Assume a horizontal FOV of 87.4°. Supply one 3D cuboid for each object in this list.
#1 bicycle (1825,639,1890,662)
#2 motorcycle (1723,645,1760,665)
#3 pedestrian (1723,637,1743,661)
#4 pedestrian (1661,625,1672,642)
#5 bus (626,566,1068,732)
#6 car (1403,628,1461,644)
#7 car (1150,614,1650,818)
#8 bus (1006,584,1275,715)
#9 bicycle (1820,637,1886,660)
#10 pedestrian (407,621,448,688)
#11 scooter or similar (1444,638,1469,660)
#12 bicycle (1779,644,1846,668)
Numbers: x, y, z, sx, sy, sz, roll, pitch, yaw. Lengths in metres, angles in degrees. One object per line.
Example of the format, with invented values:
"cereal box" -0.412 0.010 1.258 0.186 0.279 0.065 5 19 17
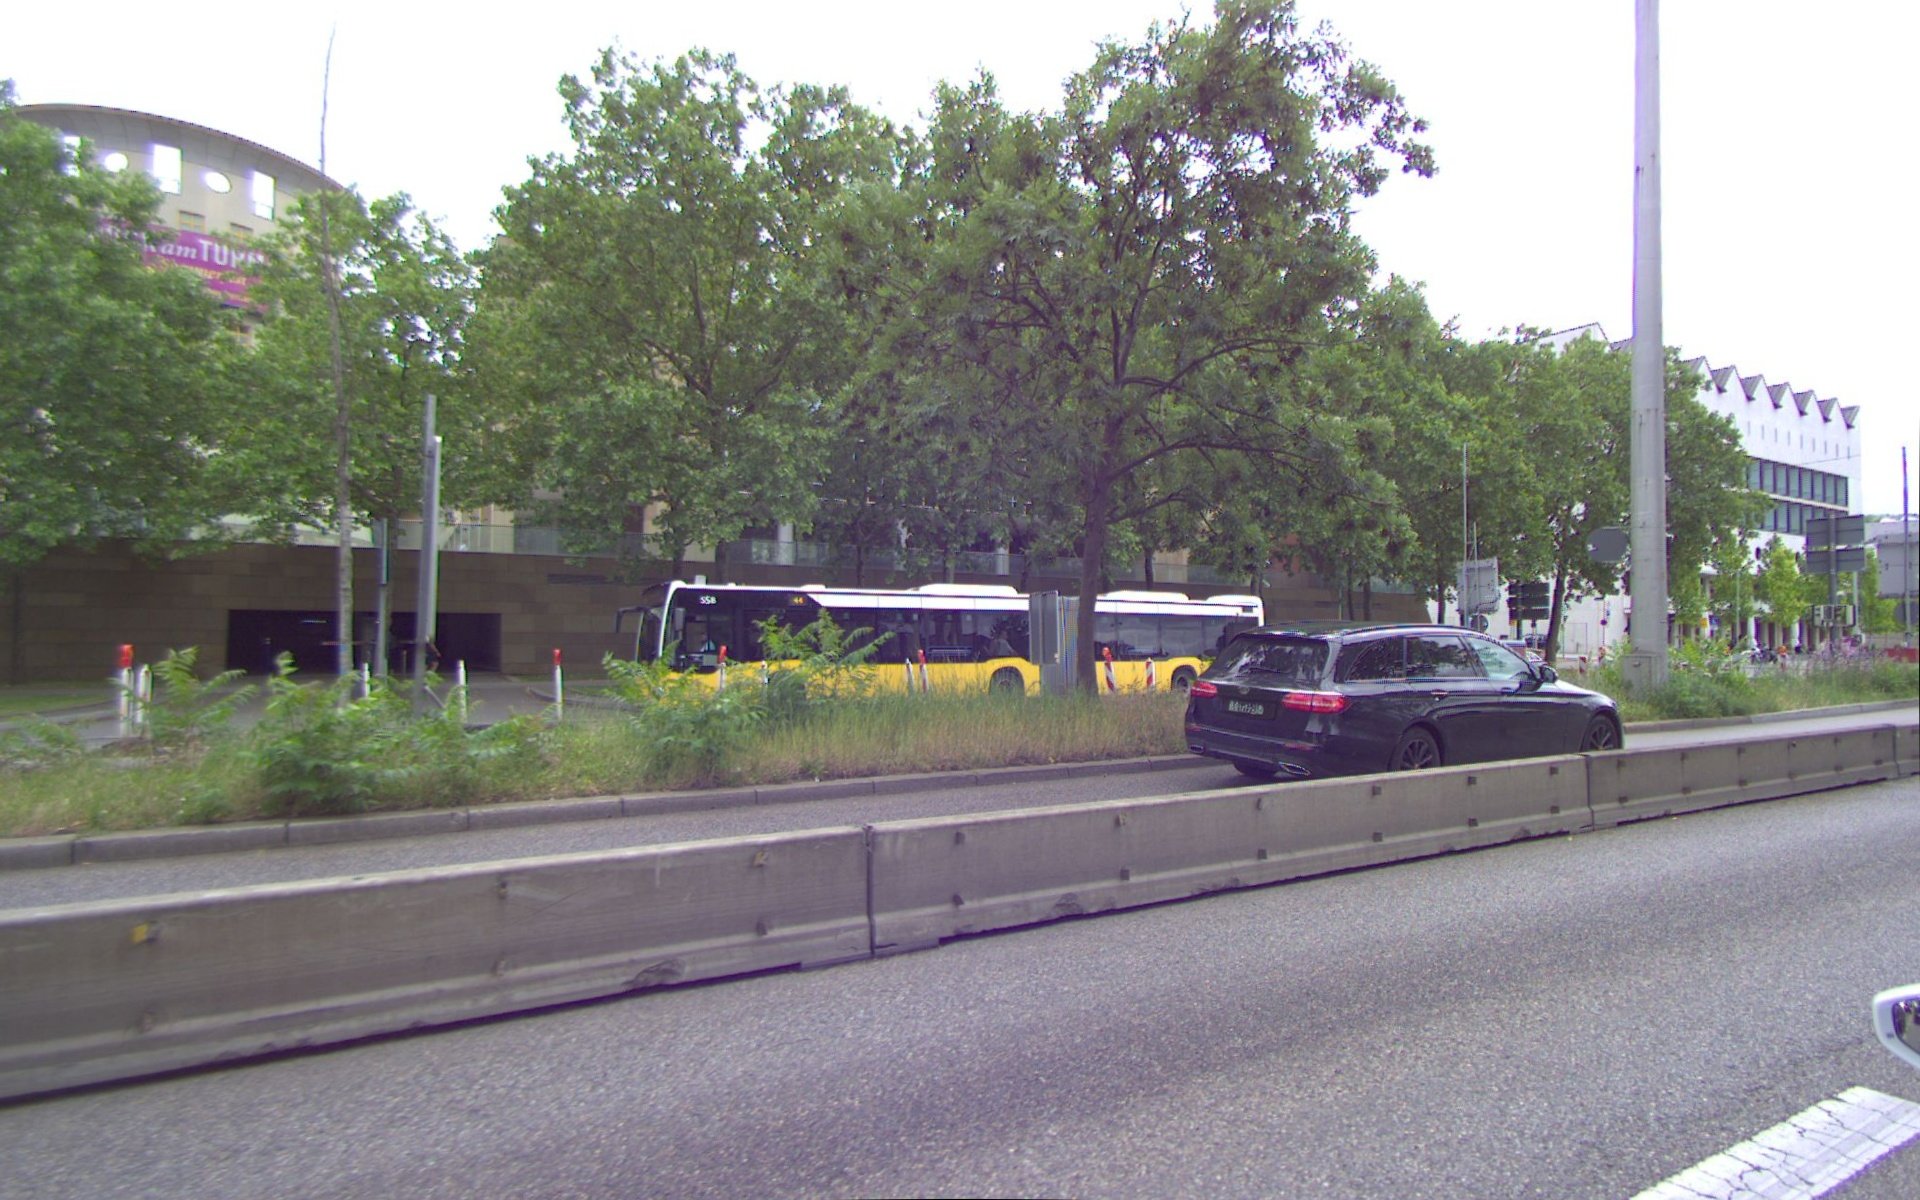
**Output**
"bicycle" 69.281 3.896 77.582 1.173 1.706 3.584 2 -3 -39
"motorcycle" 50.636 3.537 65.123 1.859 1.249 0.657 -1 -5 36
"pedestrian" 52.060 3.284 67.661 0.865 1.577 0.598 0 -2 18
"pedestrian" 56.595 2.717 80.513 0.558 1.344 0.517 3 -4 -29
"bus" -2.400 1.170 24.201 10.329 3.348 2.898 2 -2 -31
"car" 38.362 2.929 81.705 1.731 1.293 3.970 2 -3 -29
"car" 4.245 0.960 9.445 4.806 1.479 1.803 2 -1 -30
"bus" 5.282 1.415 28.853 7.618 3.347 2.908 2 -2 -31
"bicycle" 67.794 3.673 76.292 1.173 1.706 3.584 2 -3 -39
"pedestrian" -15.301 1.576 28.871 0.976 1.878 0.718 2 -4 -30
"scooter or similar" 31.879 3.151 64.547 0.531 1.358 1.408 1 -2 -29
"bicycle" 62.739 4.095 73.981 1.169 1.706 3.596 1 -3 -30
